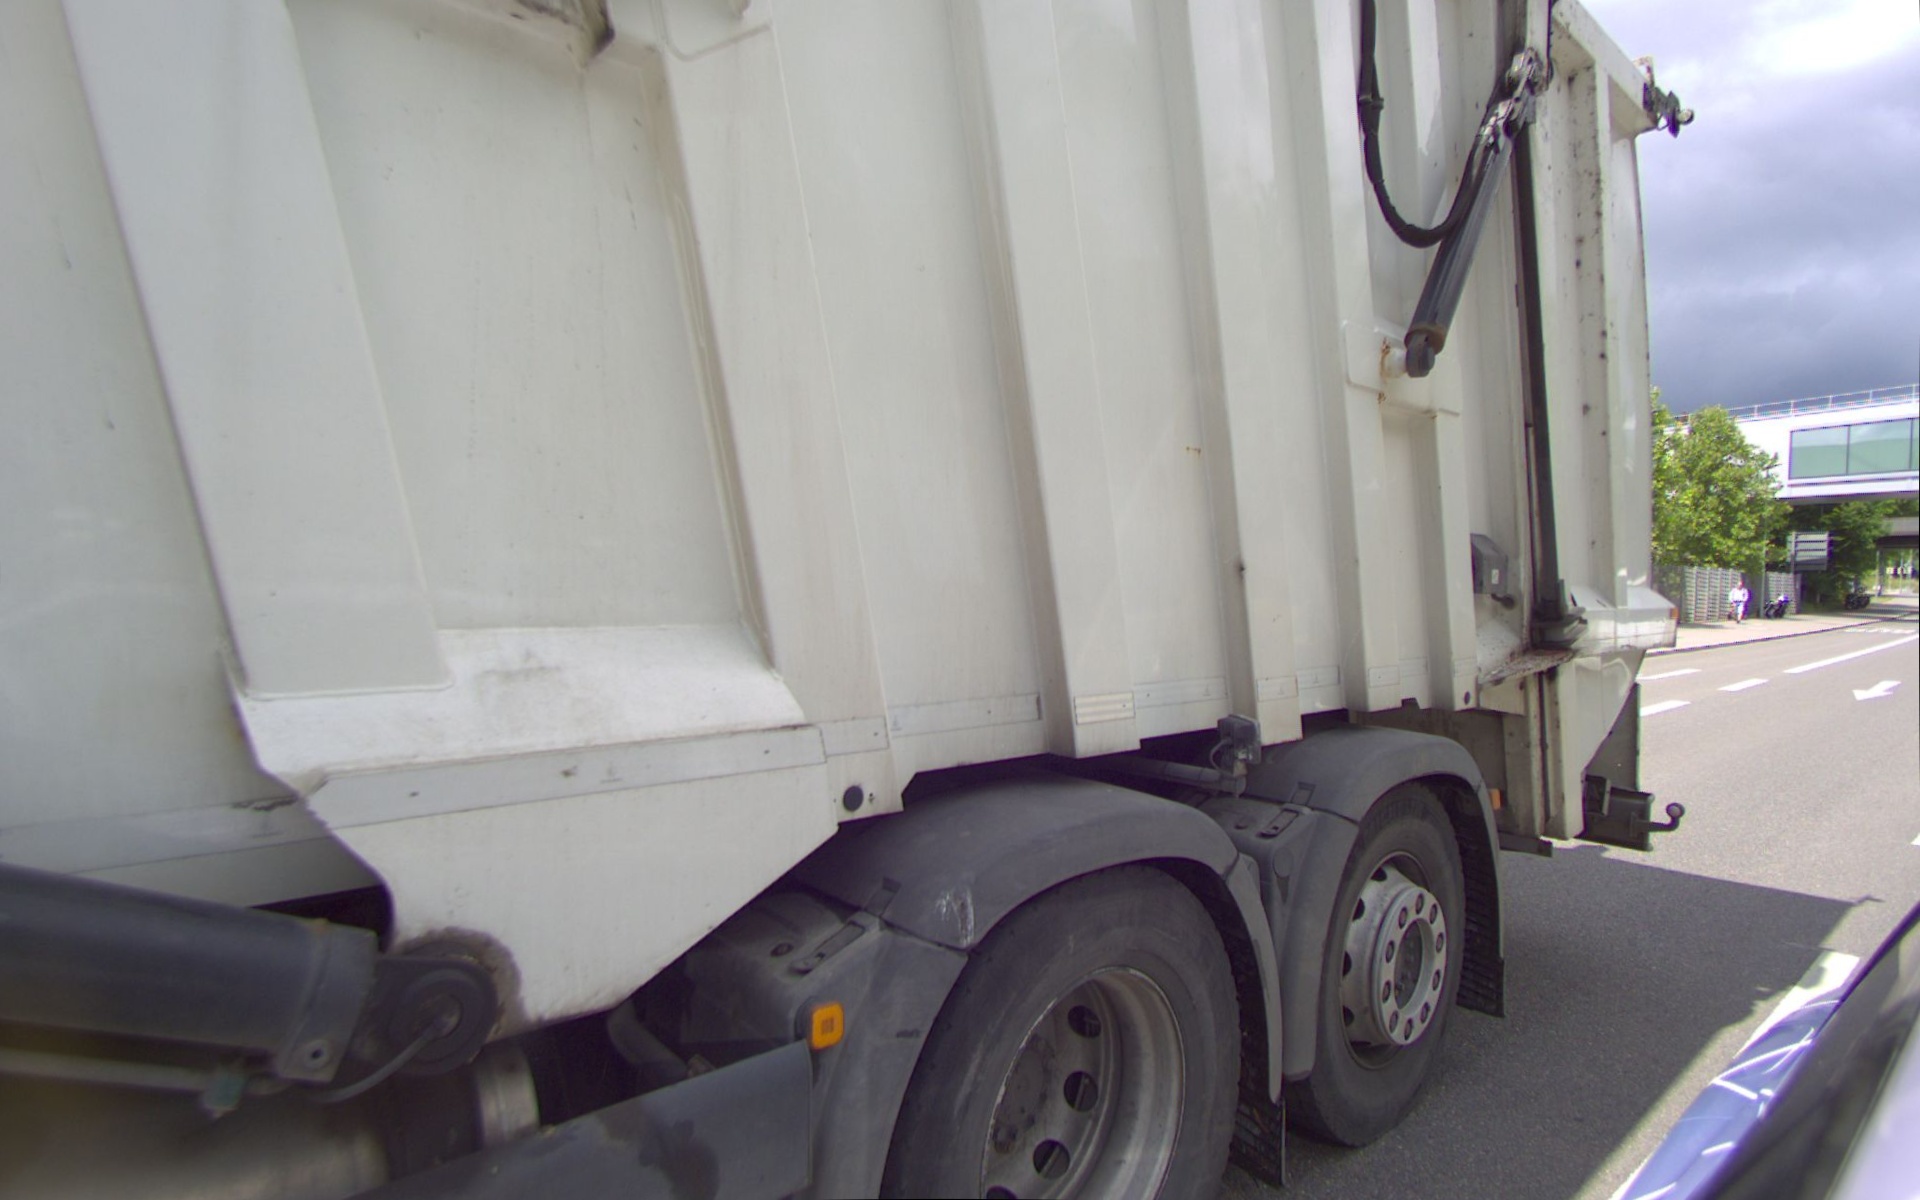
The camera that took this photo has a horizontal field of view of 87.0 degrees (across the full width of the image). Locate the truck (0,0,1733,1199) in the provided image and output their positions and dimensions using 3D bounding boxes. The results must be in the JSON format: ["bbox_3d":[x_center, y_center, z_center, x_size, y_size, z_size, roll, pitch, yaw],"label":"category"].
[{"bbox_3d":[-0.844,-0.589,2.440,9.999,3.962,2.492,-1,0,-42],"label":"truck"}]

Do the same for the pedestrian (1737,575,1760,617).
[{"bbox_3d":[36.782,-0.187,47.221,0.647,1.936,0.738,0,0,-42],"label":"pedestrian"}]
